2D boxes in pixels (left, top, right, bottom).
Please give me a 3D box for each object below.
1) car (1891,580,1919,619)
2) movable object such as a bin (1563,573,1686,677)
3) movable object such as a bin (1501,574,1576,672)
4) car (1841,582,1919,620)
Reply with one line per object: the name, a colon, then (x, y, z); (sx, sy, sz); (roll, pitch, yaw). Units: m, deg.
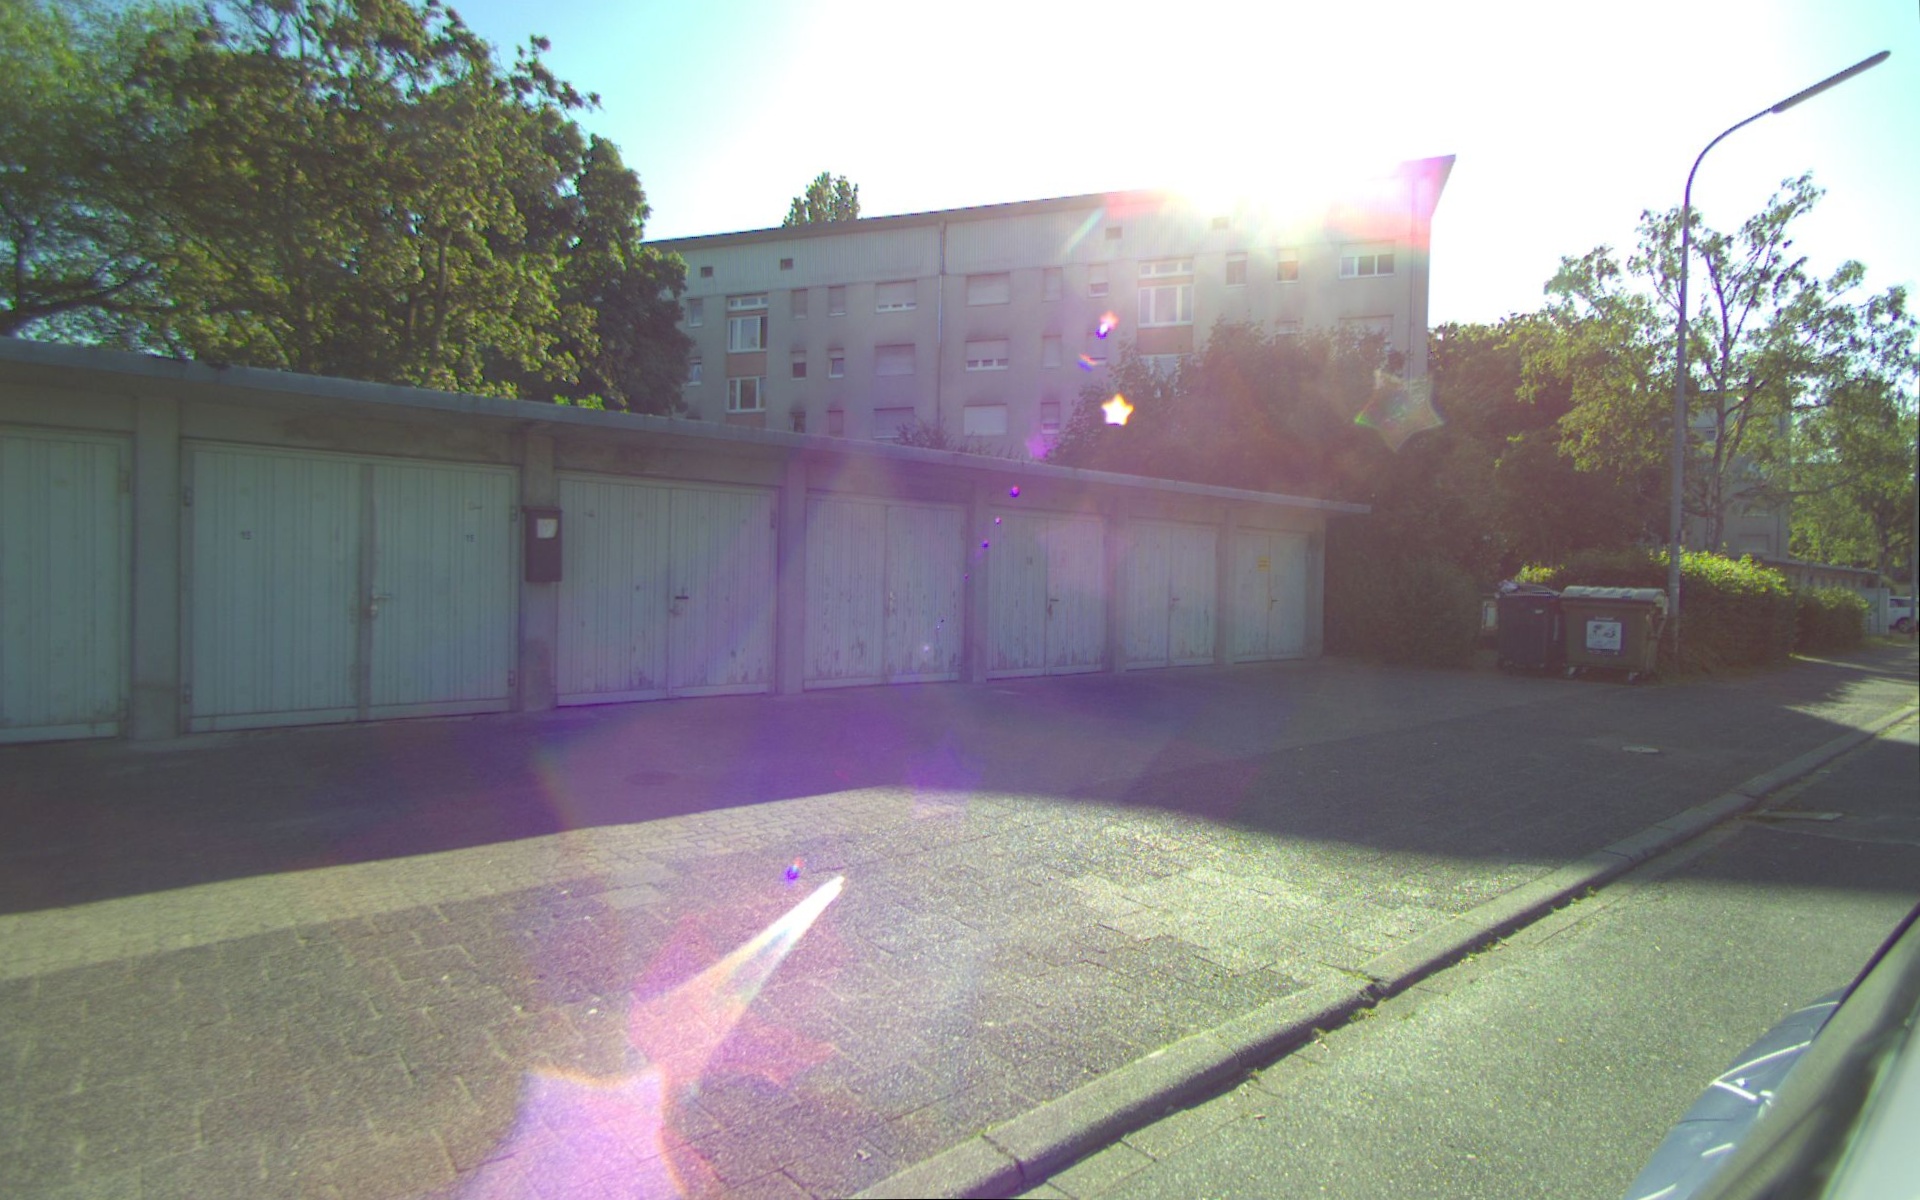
car: (51.768, -0.037, 53.341); (1.779, 2.039, 3.773); (-1, 0, -41)
movable object such as a bin: (10.168, 0.338, 15.487); (1.160, 1.459, 1.277); (-1, 4, -42)
movable object such as a bin: (9.112, 0.341, 15.950); (0.834, 1.459, 0.753); (-1, 3, -42)
car: (39.090, 0.052, 42.161); (3.494, 1.527, 1.577); (-1, 0, 44)
